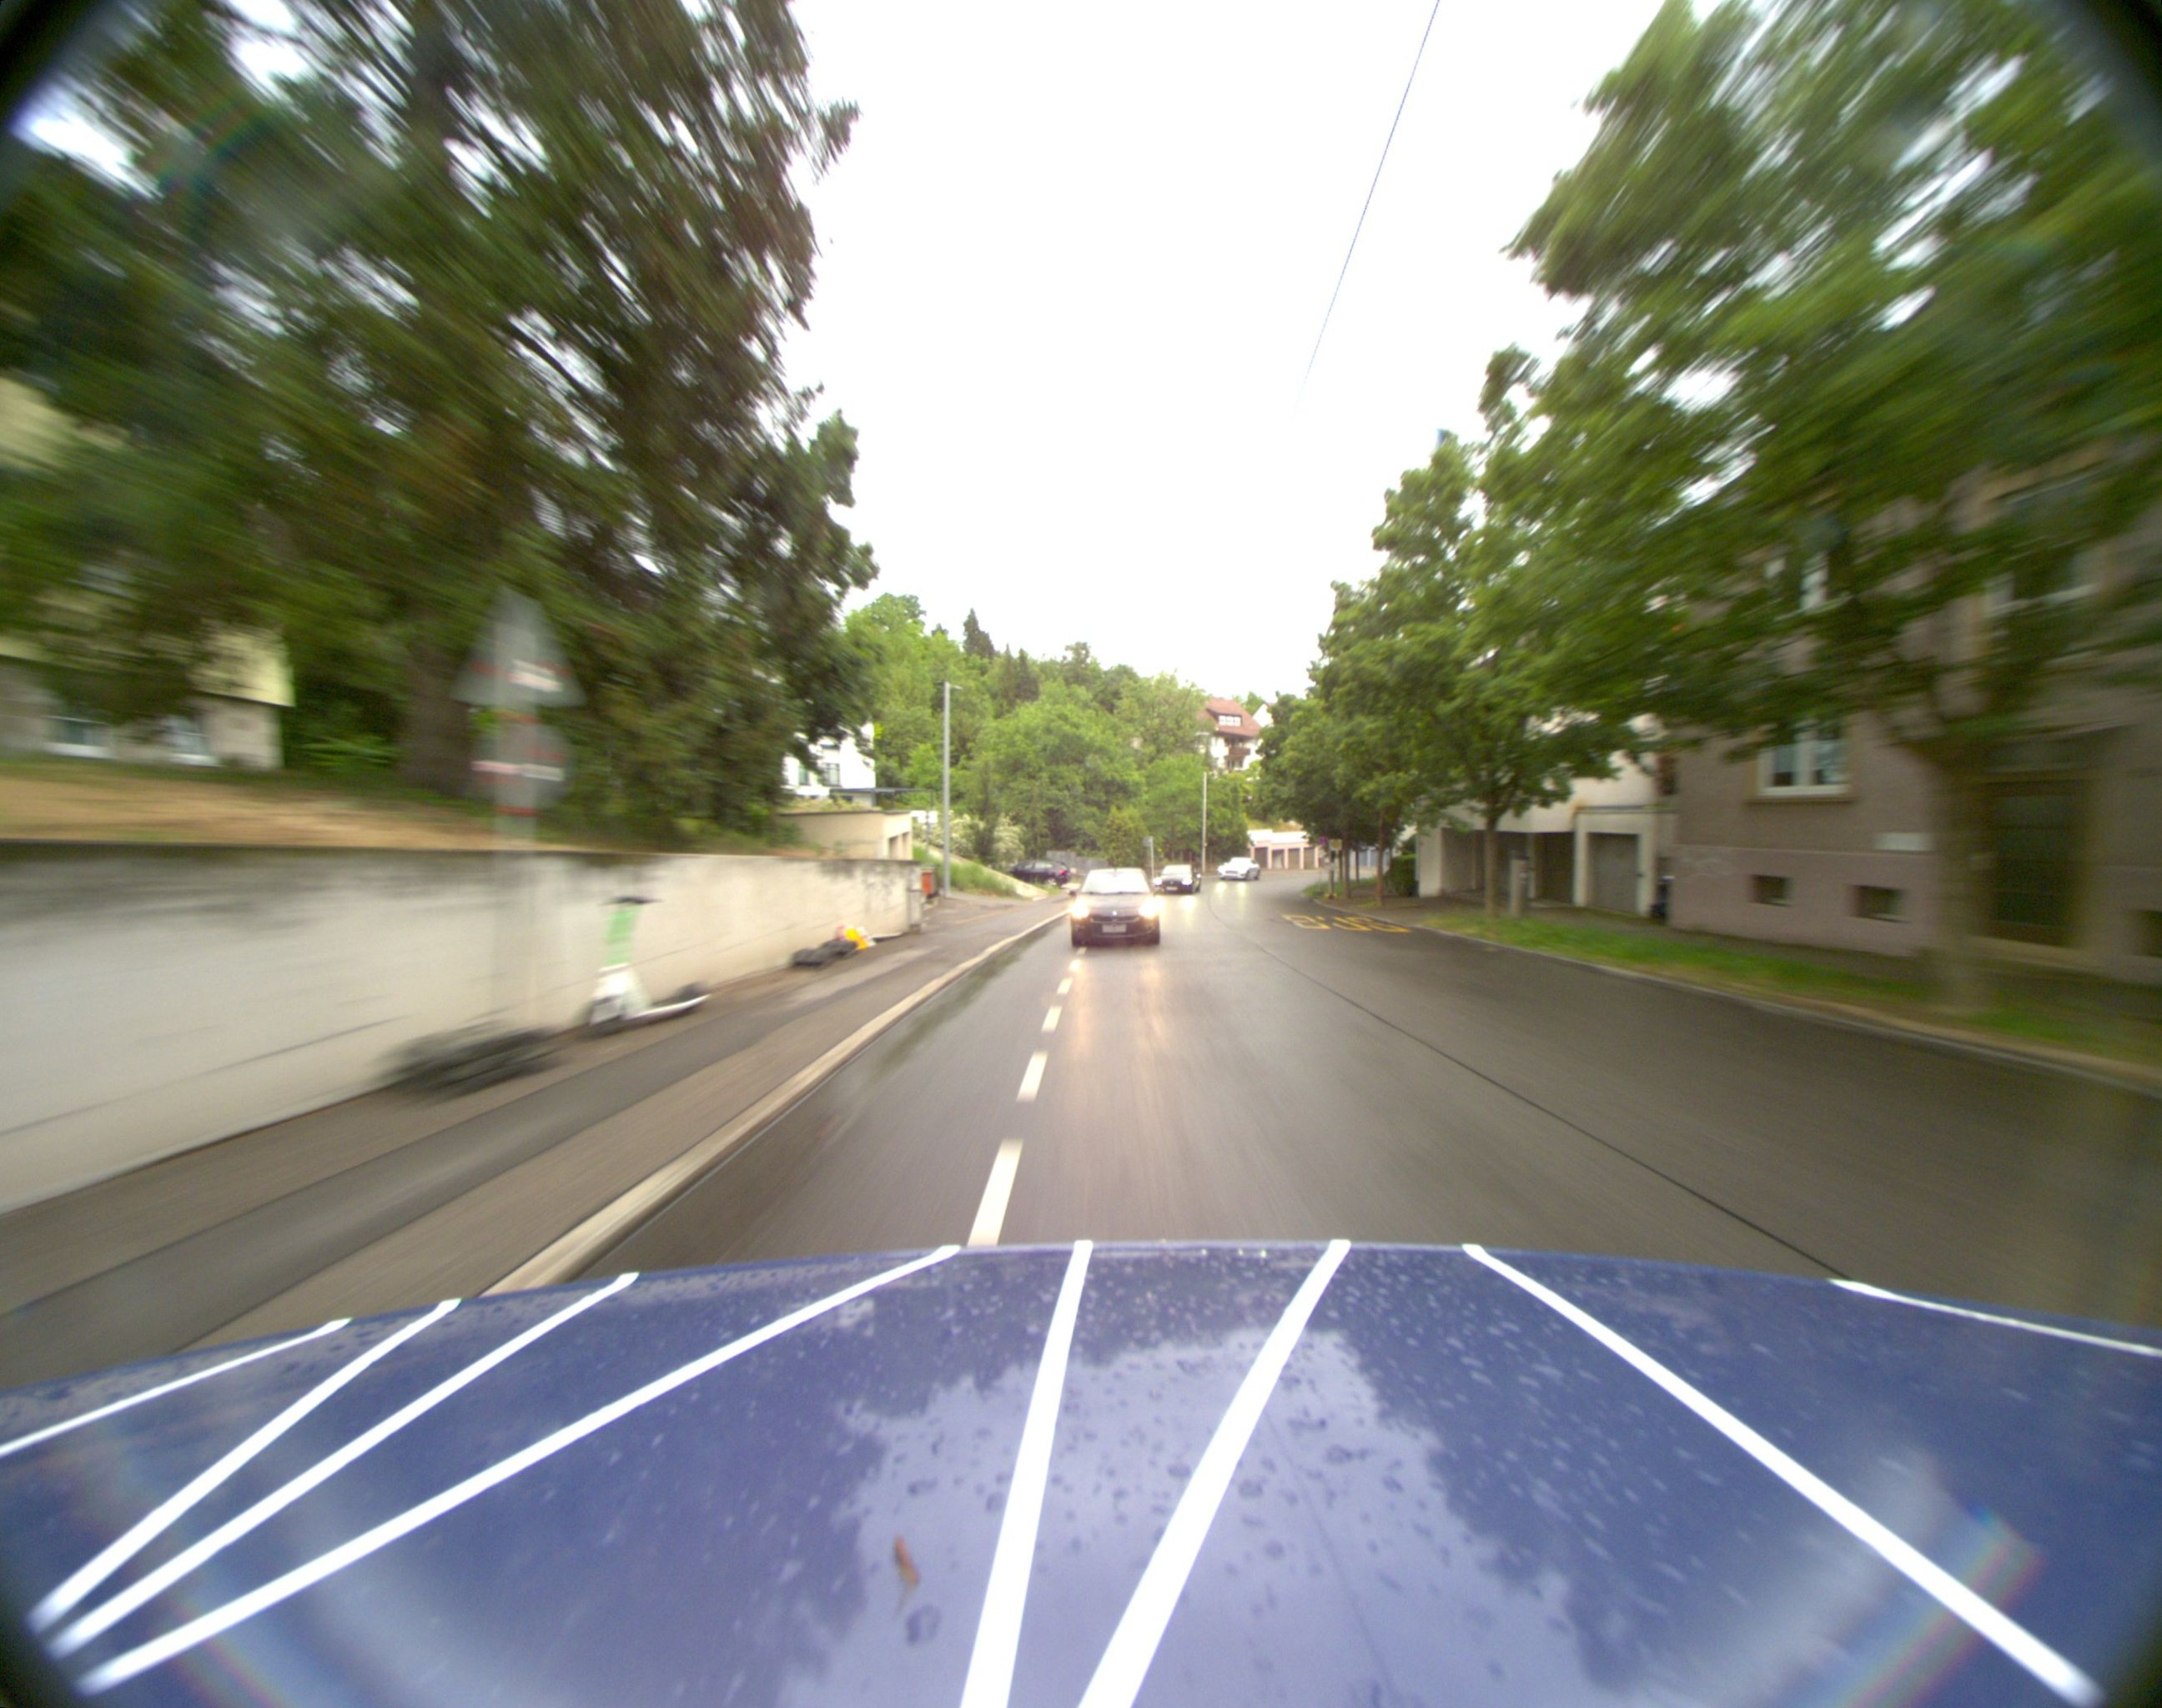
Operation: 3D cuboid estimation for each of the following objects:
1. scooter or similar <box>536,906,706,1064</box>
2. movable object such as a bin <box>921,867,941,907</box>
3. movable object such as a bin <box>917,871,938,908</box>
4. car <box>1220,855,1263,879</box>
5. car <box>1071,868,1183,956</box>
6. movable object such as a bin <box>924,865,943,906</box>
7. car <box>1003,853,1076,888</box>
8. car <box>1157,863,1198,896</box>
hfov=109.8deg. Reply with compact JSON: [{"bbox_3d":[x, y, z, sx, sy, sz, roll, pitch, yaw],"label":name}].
[{"bbox_3d":[-3.908,1.064,6.580,0.599,1.126,1.370,0,0,3],"label":"scooter or similar"},{"bbox_3d":[-4.928,1.078,24.949,0.564,1.261,0.453,0,1,-2],"label":"movable object such as a bin"},{"bbox_3d":[-4.945,1.129,24.451,0.575,1.169,0.443,0,1,-2],"label":"movable object such as a bin"},{"bbox_3d":[11.872,0.913,56.016,2.009,1.652,4.454,0,0,27],"label":"car"},{"bbox_3d":[1.025,1.037,15.103,1.576,1.444,3.591,1,0,14],"label":"car"},{"bbox_3d":[-4.940,1.061,25.453,0.555,1.343,0.463,0,1,-2],"label":"movable object such as a bin"},{"bbox_3d":[-2.109,0.806,39.322,3.464,1.623,1.580,2,1,8],"label":"car"},{"bbox_3d":[4.716,1.227,37.677,1.807,1.480,4.018,0,0,4],"label":"car"}]
